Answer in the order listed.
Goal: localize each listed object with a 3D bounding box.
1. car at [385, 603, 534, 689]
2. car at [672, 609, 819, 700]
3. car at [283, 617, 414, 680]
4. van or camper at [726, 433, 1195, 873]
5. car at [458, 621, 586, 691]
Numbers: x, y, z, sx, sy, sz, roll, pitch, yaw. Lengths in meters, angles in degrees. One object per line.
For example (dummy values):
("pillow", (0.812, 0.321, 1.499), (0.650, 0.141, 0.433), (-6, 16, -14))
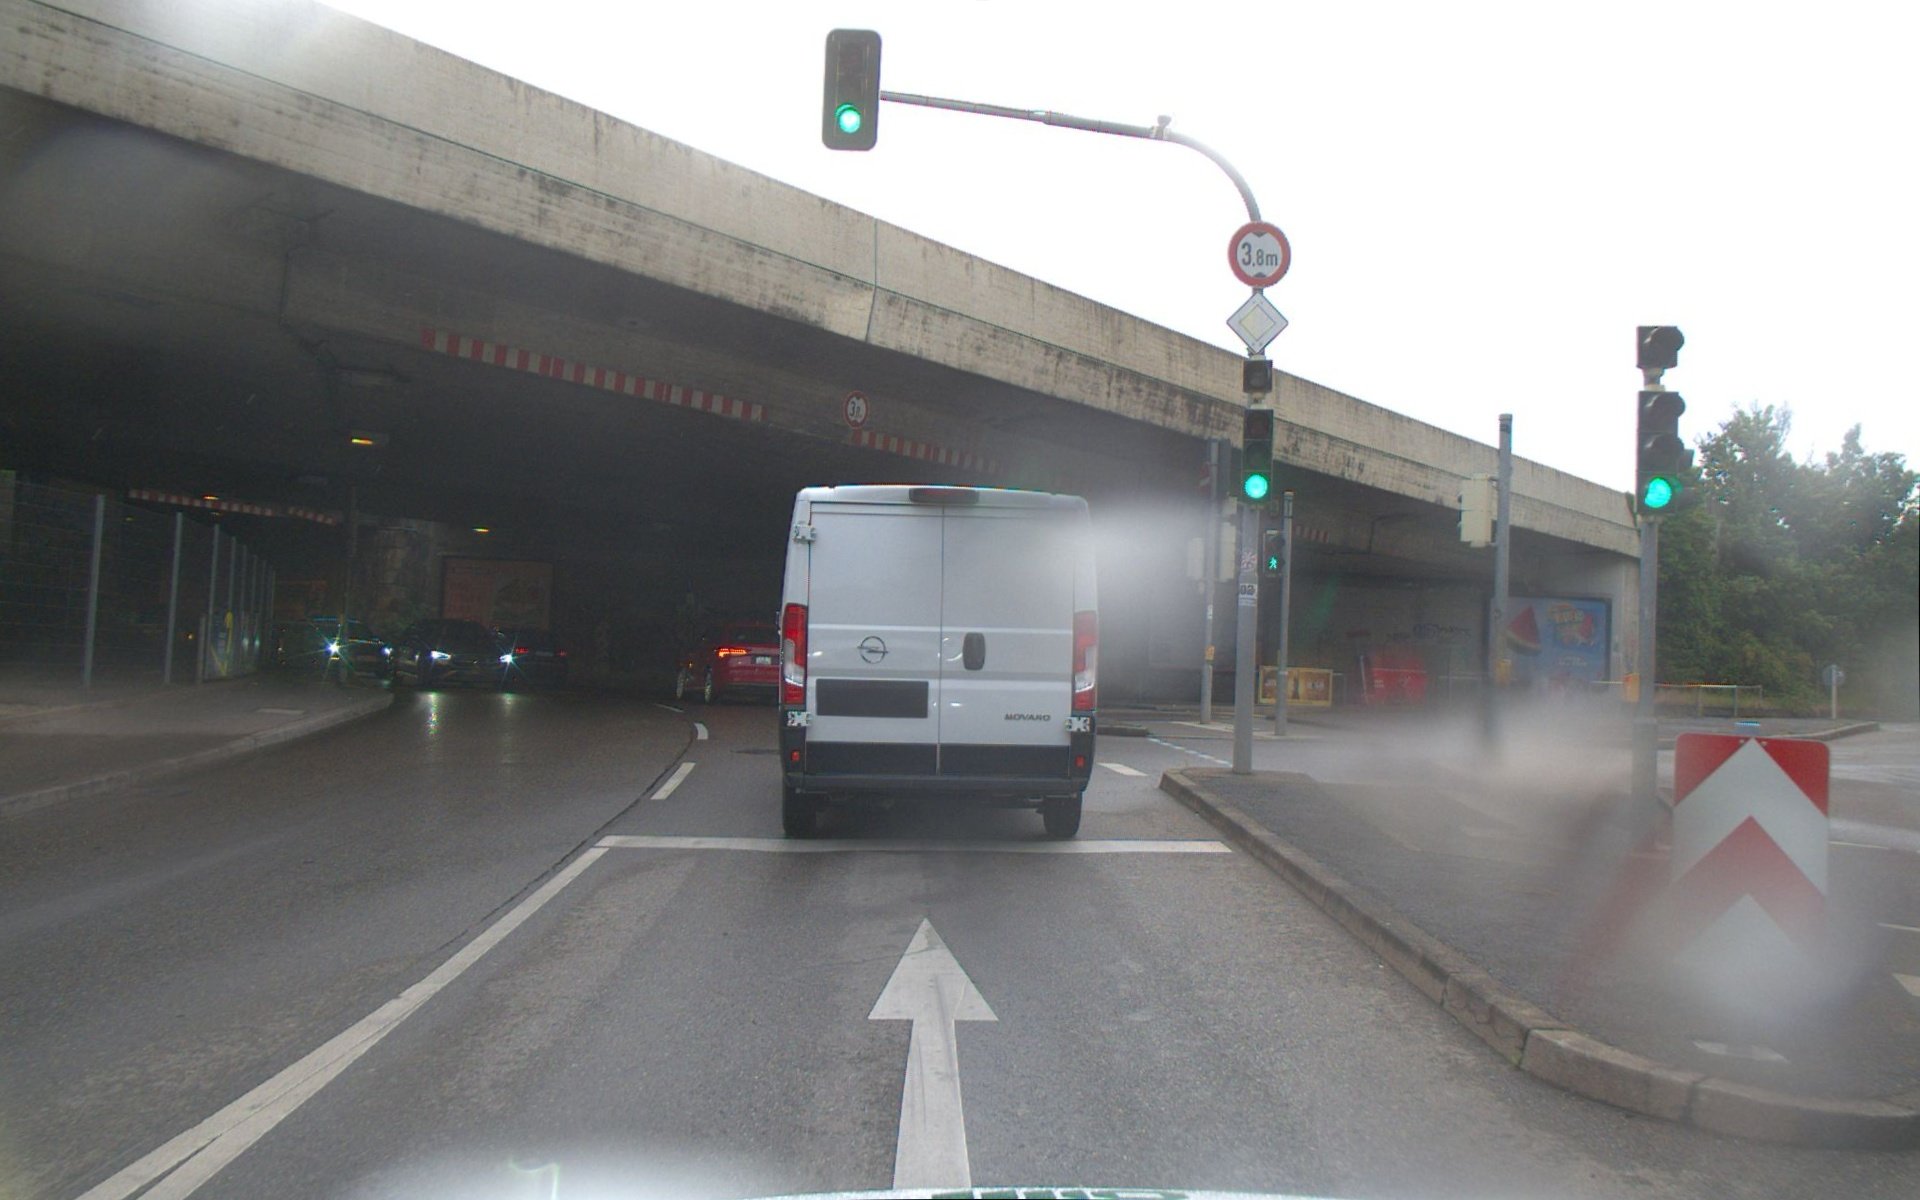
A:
("car", (-10.618, 0.933, 34.900), (1.973, 1.556, 4.454), (3, 0, -30))
("car", (-3.926, 0.977, 29.695), (1.808, 1.464, 4.080), (3, -2, -19))
("car", (-15.512, 1.236, 41.857), (1.979, 1.490, 4.049), (3, -3, -38))
("van or camper", (-0.021, 0.327, 12.102), (2.643, 2.459, 4.902), (2, -1, -1))
("car", (-11.481, 1.438, 43.171), (1.975, 1.556, 4.270), (3, 0, -33))
